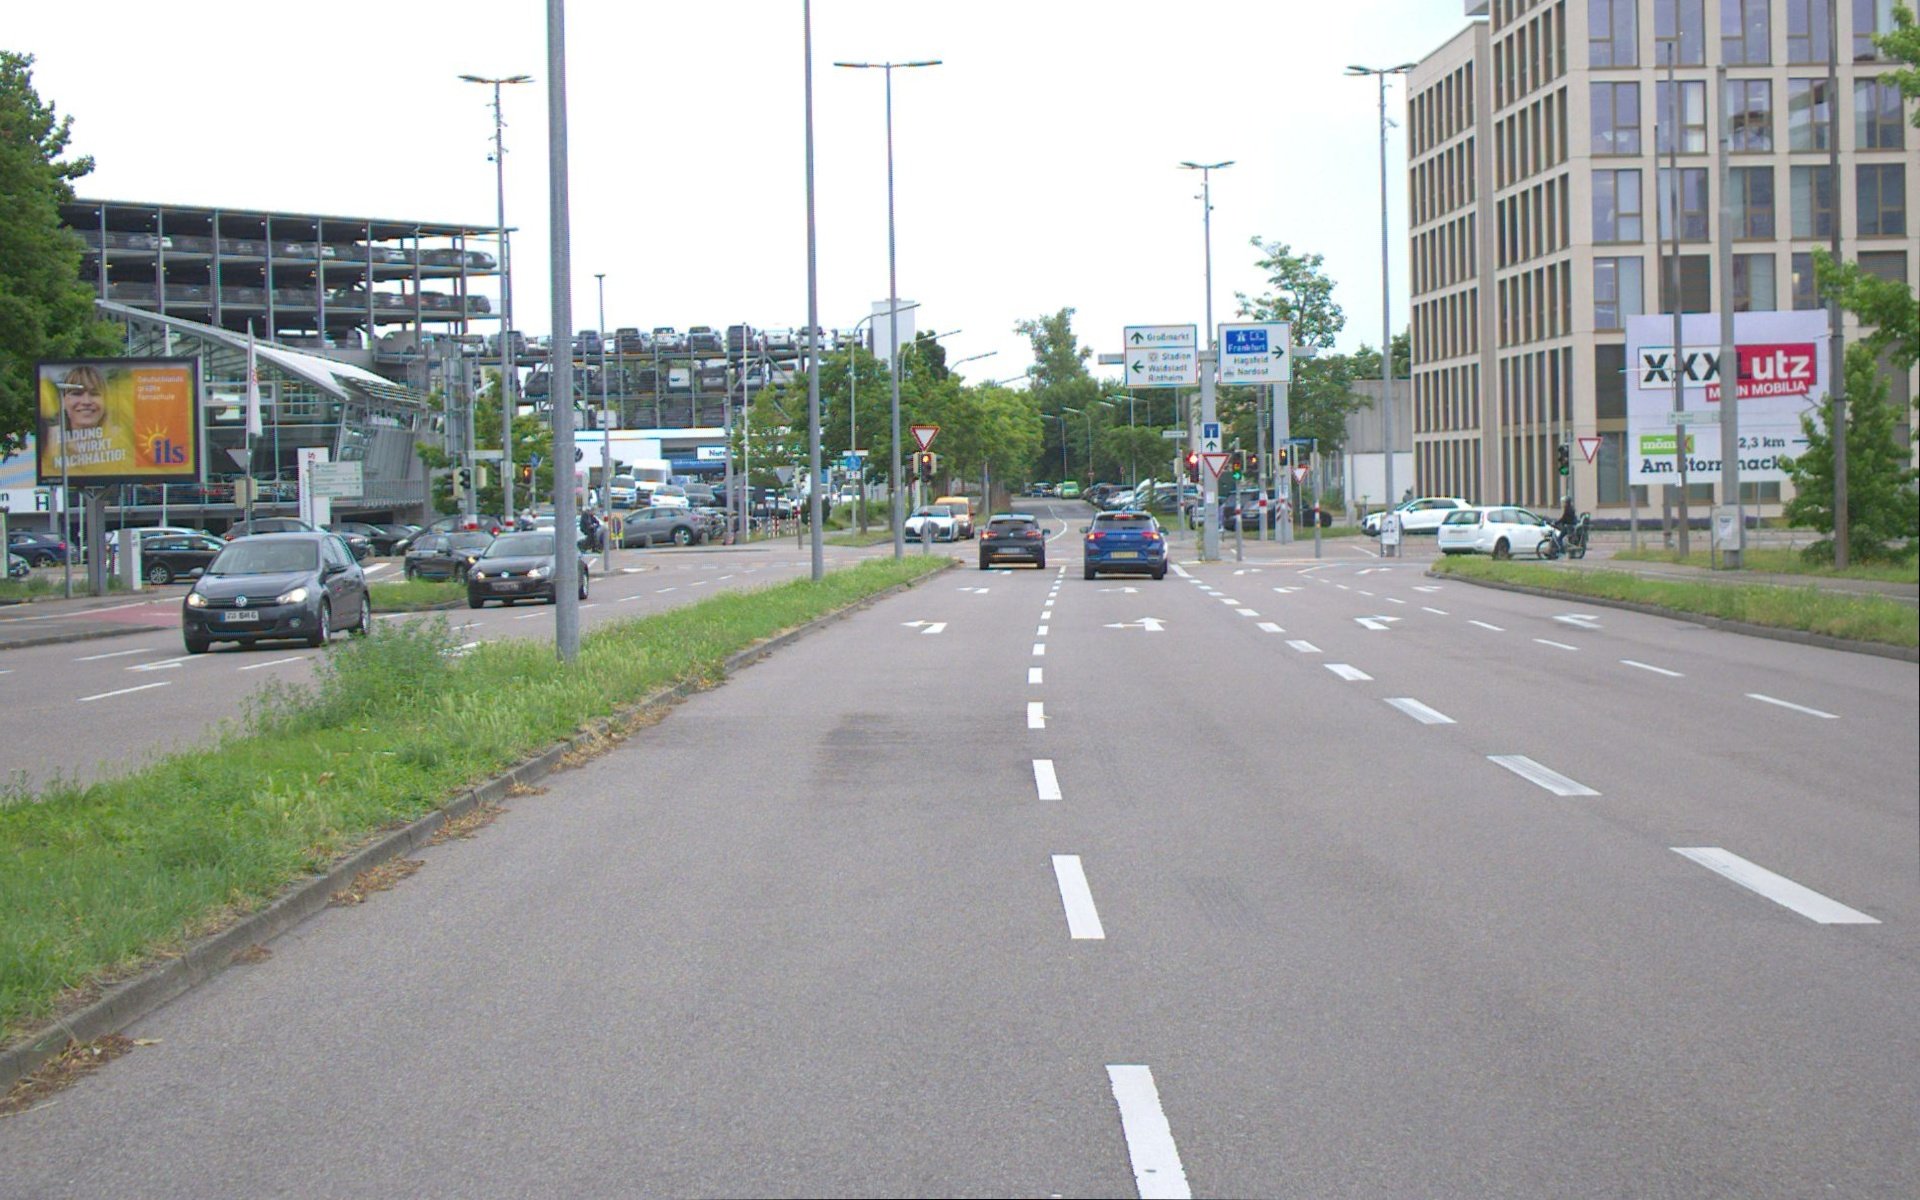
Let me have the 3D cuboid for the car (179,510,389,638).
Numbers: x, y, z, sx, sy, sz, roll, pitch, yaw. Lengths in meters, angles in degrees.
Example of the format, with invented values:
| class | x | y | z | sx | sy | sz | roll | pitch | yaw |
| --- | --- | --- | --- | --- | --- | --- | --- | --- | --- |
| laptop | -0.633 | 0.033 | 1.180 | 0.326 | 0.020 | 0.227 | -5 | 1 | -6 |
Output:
| class | x | y | z | sx | sy | sz | roll | pitch | yaw |
| --- | --- | --- | --- | --- | --- | --- | --- | --- | --- |
| car | -8.632 | -0.376 | 44.223 | 1.780 | 1.450 | 4.182 | -3 | 2 | 1 |

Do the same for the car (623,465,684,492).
| class | x | y | z | sx | sy | sz | roll | pitch | yaw |
| --- | --- | --- | --- | --- | --- | --- | --- | --- | --- |
| car | -18.811 | -7.467 | 210.878 | 3.662 | 1.523 | 1.615 | -1 | 4 | -5 |

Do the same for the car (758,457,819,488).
| class | x | y | z | sx | sy | sz | roll | pitch | yaw |
| --- | --- | --- | --- | --- | --- | --- | --- | --- | --- |
| car | -9.393 | -7.006 | 188.619 | 3.295 | 1.635 | 1.480 | -1 | 4 | -1 |

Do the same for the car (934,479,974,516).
| class | x | y | z | sx | sy | sz | roll | pitch | yaw |
| --- | --- | --- | --- | --- | --- | --- | --- | --- | --- |
| car | -0.246 | -4.370 | 146.632 | 1.600 | 1.448 | 3.325 | -1 | 4 | 2 |

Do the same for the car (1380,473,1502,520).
| class | x | y | z | sx | sy | sz | roll | pitch | yaw |
| --- | --- | --- | --- | --- | --- | --- | --- | --- | --- |
| car | 17.285 | -3.722 | 123.583 | 3.941 | 1.562 | 1.761 | -2 | 4 | -11 |

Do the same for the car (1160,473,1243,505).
| class | x | y | z | sx | sy | sz | roll | pitch | yaw |
| --- | --- | --- | --- | --- | --- | --- | --- | --- | --- |
| car | 11.626 | -5.351 | 165.189 | 3.607 | 1.473 | 1.758 | 1 | 4 | 22 |

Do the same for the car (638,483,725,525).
| class | x | y | z | sx | sy | sz | roll | pitch | yaw |
| --- | --- | --- | --- | --- | --- | --- | --- | --- | --- |
| car | -11.793 | -4.056 | 145.698 | 3.605 | 1.662 | 1.549 | -1 | 4 | -3 |

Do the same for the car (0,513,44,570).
| class | x | y | z | sx | sy | sz | roll | pitch | yaw |
| --- | --- | --- | --- | --- | --- | --- | --- | --- | --- |
| car | -30.274 | -1.721 | 104.117 | 4.542 | 1.654 | 2.001 | -2 | 2 | -5 |

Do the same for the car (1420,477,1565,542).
| class | x | y | z | sx | sy | sz | roll | pitch | yaw |
| --- | --- | --- | --- | --- | --- | --- | --- | --- | --- |
| car | 14.843 | -2.528 | 95.699 | 1.998 | 1.746 | 4.170 | 1 | 2 | 43 |

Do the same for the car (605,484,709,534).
| class | x | y | z | sx | sy | sz | roll | pitch | yaw |
| --- | --- | --- | --- | --- | --- | --- | --- | --- | --- |
| car | -11.875 | -3.581 | 135.014 | 3.986 | 1.783 | 1.848 | -1 | 4 | -3 |

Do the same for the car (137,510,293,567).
| class | x | y | z | sx | sy | sz | roll | pitch | yaw |
| --- | --- | --- | --- | --- | --- | --- | --- | --- | --- |
| car | -22.643 | -1.888 | 104.648 | 4.415 | 1.654 | 2.000 | -1 | 1 | -5 |

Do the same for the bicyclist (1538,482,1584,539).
| class | x | y | z | sx | sy | sz | roll | pitch | yaw |
| --- | --- | --- | --- | --- | --- | --- | --- | --- | --- |
| bicyclist | 16.004 | -2.393 | 91.582 | 0.700 | 1.498 | 1.000 | -2 | 3 | -35 |

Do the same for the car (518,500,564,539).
| class | x | y | z | sx | sy | sz | roll | pitch | yaw |
| --- | --- | --- | --- | --- | --- | --- | --- | --- | --- |
| car | -15.871 | -3.048 | 130.178 | 1.370 | 1.321 | 3.035 | -2 | 4 | -13 |

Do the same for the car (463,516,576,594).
| class | x | y | z | sx | sy | sz | roll | pitch | yaw |
| --- | --- | --- | --- | --- | --- | --- | --- | --- | --- |
| car | -8.705 | -0.918 | 68.248 | 1.931 | 1.450 | 4.183 | -1 | 2 | -3 |

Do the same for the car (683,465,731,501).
| class | x | y | z | sx | sy | sz | roll | pitch | yaw |
| --- | --- | --- | --- | --- | --- | --- | --- | --- | --- |
| car | -13.170 | -6.108 | 178.983 | 1.776 | 1.700 | 3.916 | -1 | 4 | 6 |

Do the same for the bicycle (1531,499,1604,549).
| class | x | y | z | sx | sy | sz | roll | pitch | yaw |
| --- | --- | --- | --- | --- | --- | --- | --- | --- | --- |
| bicycle | 16.146 | -2.033 | 91.414 | 0.700 | 1.291 | 2.011 | -2 | 3 | -35 |

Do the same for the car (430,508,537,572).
| class | x | y | z | sx | sy | sz | roll | pitch | yaw |
| --- | --- | --- | --- | --- | --- | --- | --- | --- | --- |
| car | -12.076 | -1.553 | 87.345 | 1.791 | 1.474 | 4.531 | -3 | 2 | 3 |

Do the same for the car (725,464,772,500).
| class | x | y | z | sx | sy | sz | roll | pitch | yaw |
| --- | --- | --- | --- | --- | --- | --- | --- | --- | --- |
| car | -10.979 | -6.143 | 178.957 | 1.776 | 1.700 | 3.916 | -1 | 4 | 6 |

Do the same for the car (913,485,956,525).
| class | x | y | z | sx | sy | sz | roll | pitch | yaw |
| --- | --- | --- | --- | --- | --- | --- | --- | --- | --- |
| car | -1.032 | -3.828 | 138.522 | 1.600 | 1.448 | 3.325 | -1 | 4 | 2 |

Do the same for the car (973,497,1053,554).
| class | x | y | z | sx | sy | sz | roll | pitch | yaw |
| --- | --- | --- | --- | --- | --- | --- | --- | --- | --- |
| car | 1.367 | -1.939 | 90.453 | 1.987 | 1.423 | 4.241 | -1 | 1 | -1 |

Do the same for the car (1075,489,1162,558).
| class | x | y | z | sx | sy | sz | roll | pitch | yaw |
| --- | --- | --- | --- | --- | --- | --- | --- | --- | --- |
| car | 3.572 | -1.742 | 77.977 | 1.835 | 1.509 | 4.000 | -1 | 2 | 1 |

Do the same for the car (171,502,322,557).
| class | x | y | z | sx | sy | sz | roll | pitch | yaw |
| --- | --- | --- | --- | --- | --- | --- | --- | --- | --- |
| car | -23.007 | -2.280 | 111.001 | 4.402 | 1.638 | 2.000 | -1 | 4 | 0 |

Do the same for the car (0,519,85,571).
| class | x | y | z | sx | sy | sz | roll | pitch | yaw |
| --- | --- | --- | --- | --- | --- | --- | --- | --- | --- |
| car | -31.959 | -1.879 | 117.236 | 3.855 | 1.629 | 1.725 | -1 | 4 | -4 |
